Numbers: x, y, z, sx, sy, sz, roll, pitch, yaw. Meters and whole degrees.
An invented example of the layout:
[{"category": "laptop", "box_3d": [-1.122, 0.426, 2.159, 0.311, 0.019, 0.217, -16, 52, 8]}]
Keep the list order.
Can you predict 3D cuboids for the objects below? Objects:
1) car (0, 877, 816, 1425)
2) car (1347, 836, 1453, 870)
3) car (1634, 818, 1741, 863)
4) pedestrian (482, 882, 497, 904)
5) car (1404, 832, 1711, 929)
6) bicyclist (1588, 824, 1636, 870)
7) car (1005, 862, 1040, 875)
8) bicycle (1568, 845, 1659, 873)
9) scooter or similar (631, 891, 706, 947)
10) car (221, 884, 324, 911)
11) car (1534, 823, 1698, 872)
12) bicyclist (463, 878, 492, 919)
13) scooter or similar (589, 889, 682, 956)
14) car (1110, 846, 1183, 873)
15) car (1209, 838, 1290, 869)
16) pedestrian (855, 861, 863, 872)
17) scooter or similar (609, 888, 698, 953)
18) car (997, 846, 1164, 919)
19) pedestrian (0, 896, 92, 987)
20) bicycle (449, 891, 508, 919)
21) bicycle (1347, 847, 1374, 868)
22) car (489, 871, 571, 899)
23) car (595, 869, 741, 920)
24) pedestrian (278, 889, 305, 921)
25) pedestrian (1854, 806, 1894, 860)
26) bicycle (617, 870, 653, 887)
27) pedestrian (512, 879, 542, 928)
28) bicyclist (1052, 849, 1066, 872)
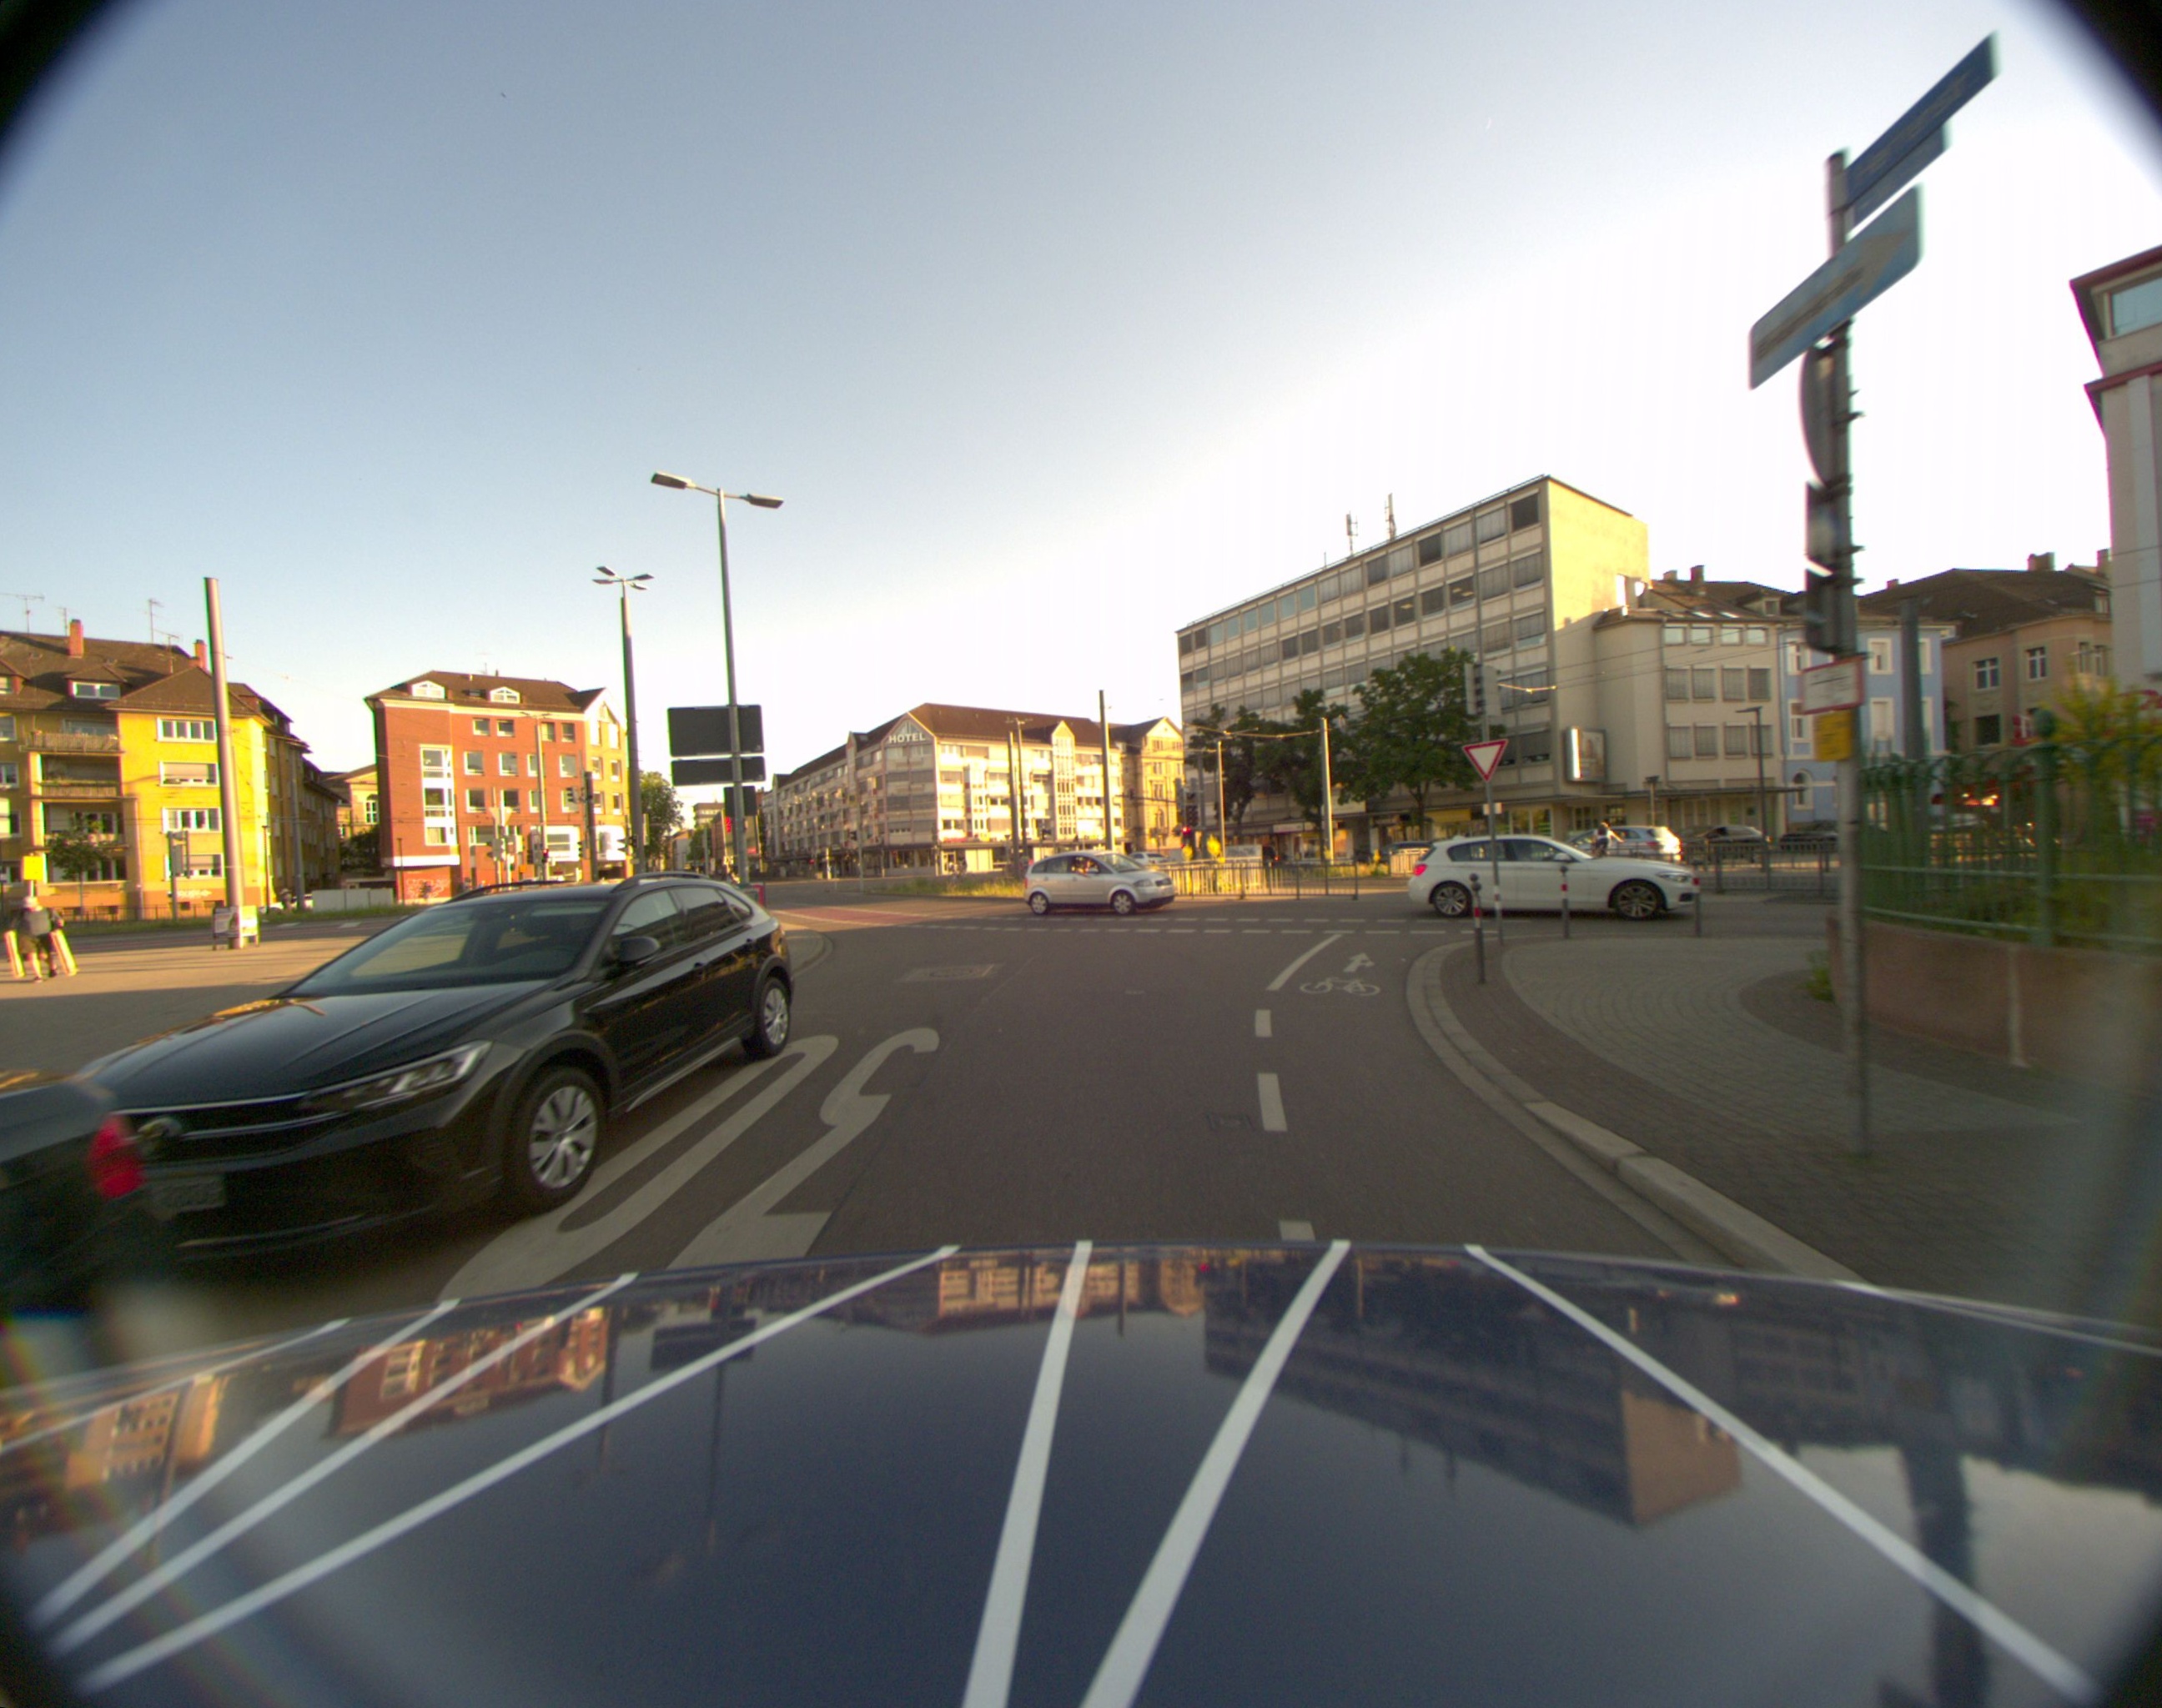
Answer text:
[{"category": "car", "box_3d": [-3.244, 1.030, 4.564, 1.783, 1.534, 4.290, -3, 0, -1]}, {"category": "car", "box_3d": [15.063, -0.035, 35.920, 4.360, 1.427, 1.740, -2, 1, 32]}, {"category": "car", "box_3d": [24.071, -0.541, 30.149, 4.256, 1.565, 1.882, -3, 1, -30]}, {"category": "pedestrian", "box_3d": [-49.138, 3.246, 63.090, 0.874, 1.768, 0.915, -4, 2, -40]}, {"category": "car", "box_3d": [8.152, 0.390, 13.254, 4.292, 1.398, 1.920, -1, 3, 37]}, {"category": "bicyclist", "box_3d": [17.322, -0.219, 24.807, 0.836, 1.433, 0.929, -3, 1, -17]}, {"category": "car", "box_3d": [-6.888, 1.700, 89.811, 3.903, 1.414, 1.645, -3, 0, -39]}, {"category": "bicycle", "box_3d": [17.340, 0.148, 24.815, 0.847, 0.842, 2.419, -3, 1, -17]}, {"category": "scooter or similar", "box_3d": [-9.100, 1.429, 16.772, 1.402, 1.159, 0.461, -3, 1, 8]}, {"category": "car", "box_3d": [-55.693, 2.979, 52.481, 4.571, 1.441, 1.812, -3, 1, -37]}, {"category": "car", "box_3d": [19.115, -0.186, 27.363, 2.208, 1.550, 4.271, -3, 1, -27]}, {"category": "bicyclist", "box_3d": [-25.508, 1.867, 32.128, 0.749, 1.662, 0.594, -5, 4, -29]}, {"category": "scooter or similar", "box_3d": [-9.187, 1.410, 15.698, 1.524, 1.253, 0.612, -3, 1, 8]}, {"category": "car", "box_3d": [3.978, 0.374, 46.771, 2.043, 1.432, 4.651, -5, 1, -31]}, {"category": "car", "box_3d": [9.709, -0.004, 44.097, 2.003, 1.565, 4.292, -3, 1, -34]}, {"category": "pedestrian", "box_3d": [-30.456, 1.689, 104.223, 0.709, 1.540, 0.904, -4, 1, -38]}, {"category": "scooter or similar", "box_3d": [-9.145, 1.424, 16.266, 1.651, 1.285, 0.461, -3, 1, 8]}, {"category": "car", "box_3d": [-0.049, 0.712, 18.785, 3.717, 1.552, 1.683, -3, 2, 35]}, {"category": "pedestrian", "box_3d": [-21.056, 1.758, 15.407, 0.942, 1.725, 0.822, -2, 1, 11]}, {"category": "bicycle", "box_3d": [-25.466, 2.140, 32.143, 1.850, 1.017, 0.595, -3, 1, -29]}, {"category": "bicycle", "box_3d": [16.226, 0.203, 44.113, 1.749, 1.133, 0.665, -4, 2, -41]}, {"category": "car", "box_3d": [-44.109, 2.465, 60.924, 4.879, 1.827, 1.998, -3, 0, -19]}, {"category": "car", "box_3d": [-14.992, 1.448, 27.670, 4.384, 1.608, 1.946, -2, 1, 13]}, {"category": "pedestrian", "box_3d": [-39.507, 2.536, 38.021, 0.637, 1.532, 0.706, -3, 1, -20]}, {"category": "pedestrian", "box_3d": [27.087, -0.727, 25.961, 0.855, 1.778, 0.810, -4, 1, -37]}, {"category": "bicycle", "box_3d": [-50.609, 2.725, 86.244, 3.313, 1.716, 1.066, -3, 1, -35]}, {"category": "pedestrian", "box_3d": [-18.899, 1.675, 25.914, 0.691, 1.604, 0.595, -3, 1, -29]}, {"category": "bicyclist", "box_3d": [-1.361, 0.411, 47.530, 0.684, 1.361, 0.715, -3, 1, -12]}]
